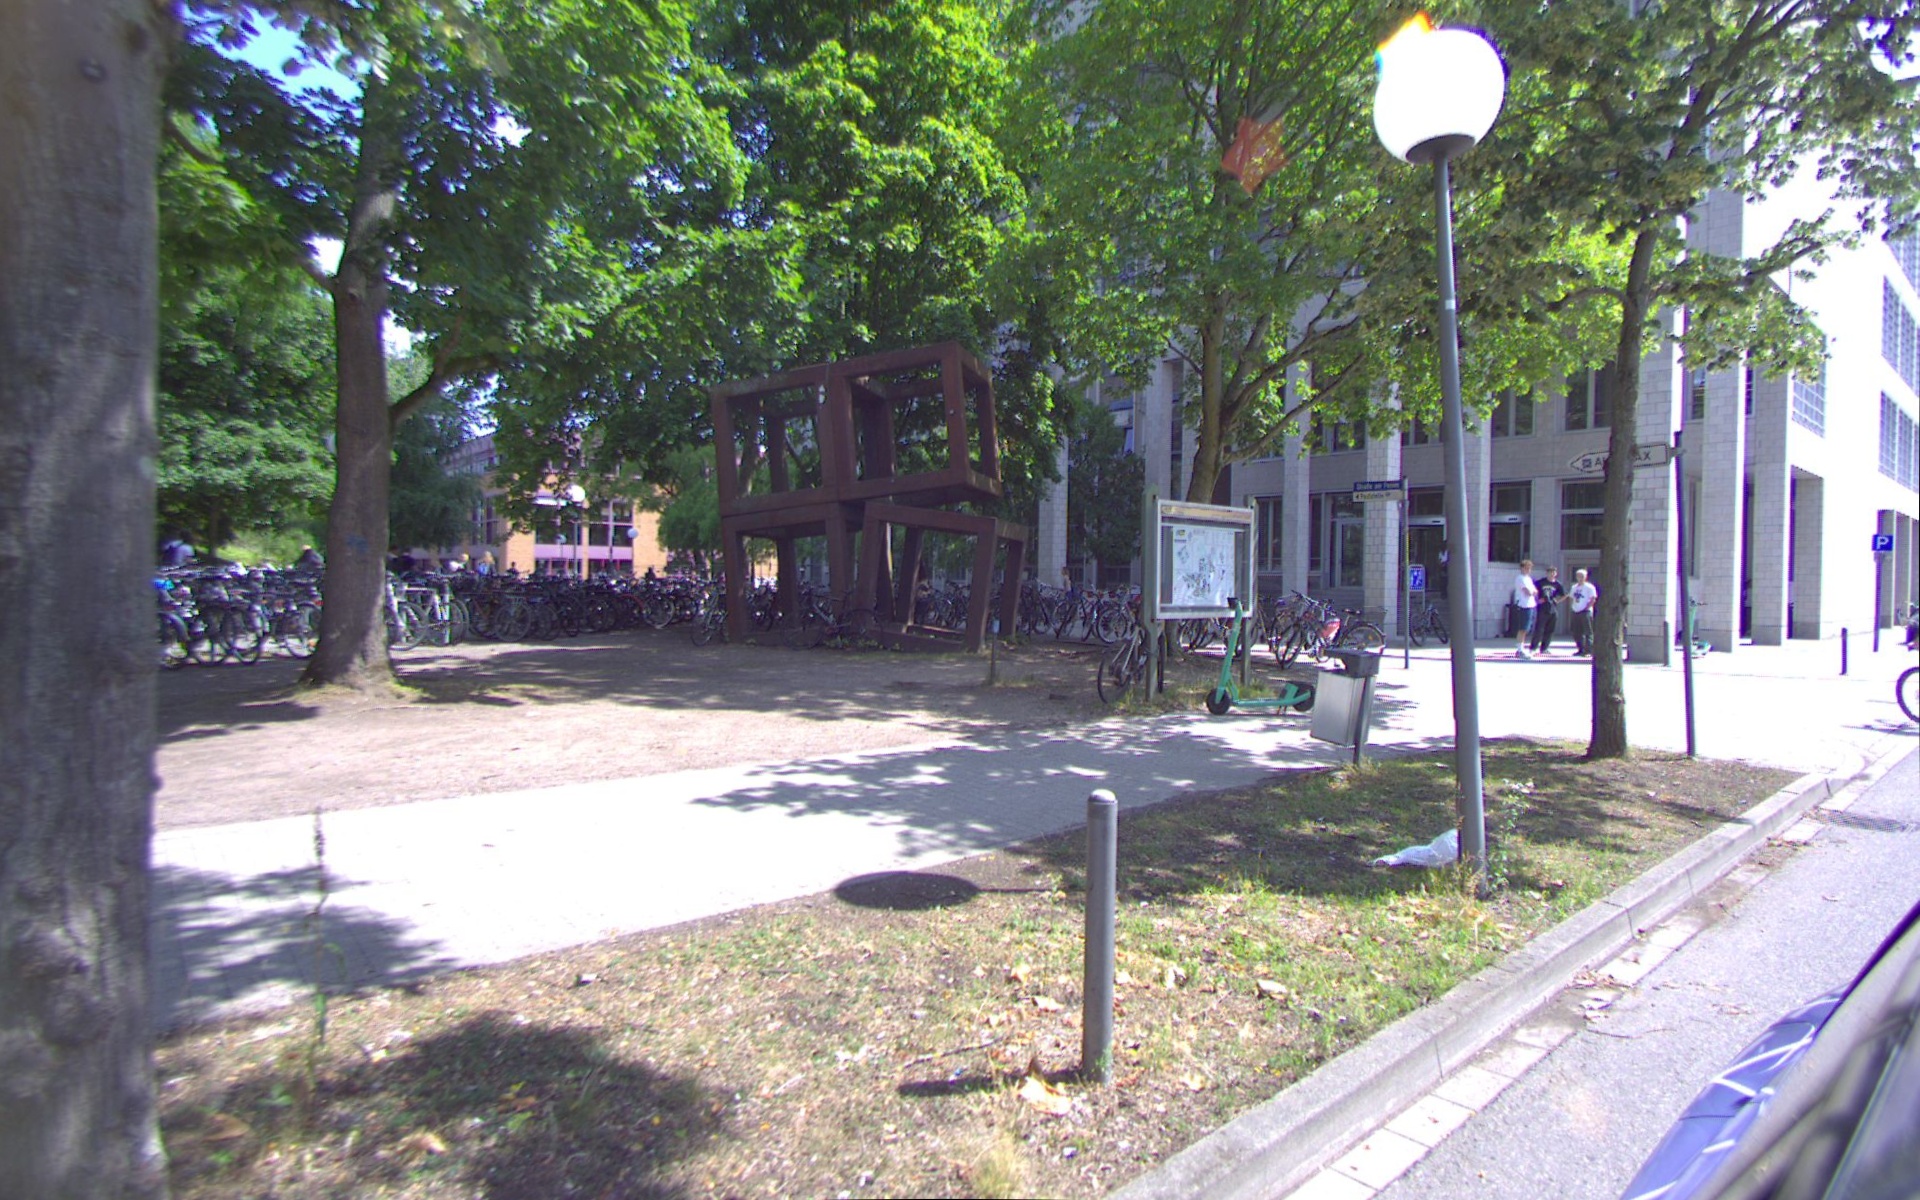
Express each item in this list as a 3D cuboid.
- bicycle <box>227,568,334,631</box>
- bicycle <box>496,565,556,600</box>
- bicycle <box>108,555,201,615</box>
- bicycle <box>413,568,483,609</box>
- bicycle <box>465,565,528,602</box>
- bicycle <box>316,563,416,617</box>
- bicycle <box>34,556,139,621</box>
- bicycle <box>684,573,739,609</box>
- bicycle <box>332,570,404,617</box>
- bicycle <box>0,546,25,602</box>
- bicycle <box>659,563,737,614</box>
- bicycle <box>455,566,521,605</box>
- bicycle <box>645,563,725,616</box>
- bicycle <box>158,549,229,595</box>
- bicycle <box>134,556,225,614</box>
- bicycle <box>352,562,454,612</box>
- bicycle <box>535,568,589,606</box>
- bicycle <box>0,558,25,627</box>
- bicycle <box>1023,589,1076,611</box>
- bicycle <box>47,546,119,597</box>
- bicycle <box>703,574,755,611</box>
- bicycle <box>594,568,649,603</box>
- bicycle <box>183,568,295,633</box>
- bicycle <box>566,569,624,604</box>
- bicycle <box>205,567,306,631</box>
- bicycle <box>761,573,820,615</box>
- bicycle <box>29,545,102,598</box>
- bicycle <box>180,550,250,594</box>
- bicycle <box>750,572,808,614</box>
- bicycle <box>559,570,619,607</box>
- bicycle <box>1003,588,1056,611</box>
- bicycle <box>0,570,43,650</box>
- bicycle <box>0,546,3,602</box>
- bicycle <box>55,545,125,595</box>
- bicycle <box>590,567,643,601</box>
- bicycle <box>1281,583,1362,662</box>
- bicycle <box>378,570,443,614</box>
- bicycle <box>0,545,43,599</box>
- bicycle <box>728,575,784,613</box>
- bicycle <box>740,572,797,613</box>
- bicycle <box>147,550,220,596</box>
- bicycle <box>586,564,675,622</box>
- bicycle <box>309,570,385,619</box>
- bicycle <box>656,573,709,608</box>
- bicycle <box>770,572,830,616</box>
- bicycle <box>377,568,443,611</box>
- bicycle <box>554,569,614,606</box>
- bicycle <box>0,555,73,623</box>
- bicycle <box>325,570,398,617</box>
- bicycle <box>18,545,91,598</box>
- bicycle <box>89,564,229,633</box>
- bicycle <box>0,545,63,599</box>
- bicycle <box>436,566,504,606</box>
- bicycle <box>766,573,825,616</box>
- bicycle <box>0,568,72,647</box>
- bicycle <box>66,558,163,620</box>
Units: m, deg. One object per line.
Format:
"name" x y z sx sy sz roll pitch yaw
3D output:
"bicycle" -11.982 -0.021 17.854 1.714 1.035 0.477 2 2 9
"bicycle" -13.576 -0.539 31.668 1.655 1.098 0.479 0 -2 -2
"bicycle" -14.375 -0.279 18.050 1.880 0.991 0.376 2 2 20
"bicycle" -13.805 -0.309 27.312 1.658 1.098 0.478 0 -2 4
"bicycle" -13.866 -0.482 30.303 1.655 1.098 0.479 0 -2 -2
"bicycle" -11.707 -0.207 19.954 1.874 0.991 0.477 2 2 12
"bicycle" -14.580 -0.205 16.885 1.880 0.991 0.475 2 2 20
"bicycle" -7.770 -0.272 31.664 0.477 1.098 1.661 -1 -2 44
"bicycle" -14.029 -0.141 24.012 1.442 1.098 0.353 0 -2 -7
"bicycle" -19.866 -0.552 20.629 1.586 1.107 0.347 2 2 13
"bicycle" -6.380 -0.289 24.648 1.816 1.185 0.412 2 1 11
"bicycle" -13.676 -0.422 29.359 1.654 1.098 0.479 0 -2 -8
"bicycle" -6.499 -0.255 23.940 1.816 1.185 0.412 2 1 11
"bicycle" -19.457 -0.707 25.696 1.581 1.107 0.348 2 2 1
"bicycle" -14.239 -0.283 18.448 1.880 0.991 0.376 2 2 20
"bicycle" -11.645 -0.275 21.185 1.868 0.991 0.479 2 2 1
"bicycle" -11.700 -0.382 29.768 1.441 1.098 0.353 0 -2 -12
"bicycle" -14.863 -0.145 15.202 1.880 0.991 0.376 2 2 20
"bicycle" 3.420 -0.008 38.702 1.981 0.769 0.634 3 1 40
"bicycle" -19.668 -0.644 22.697 1.586 1.107 0.347 2 2 13
"bicycle" -7.099 -0.217 31.175 0.475 1.098 1.666 -1 -2 35
"bicycle" -11.077 -0.469 33.152 1.653 1.098 0.479 0 -2 -9
"bicycle" -12.260 -0.006 17.223 1.714 1.035 0.477 2 2 9
"bicycle" -11.472 -0.419 31.811 1.653 1.098 0.479 0 -2 -9
"bicycle" -12.247 -0.023 17.597 1.714 1.035 0.292 2 2 9
"bicycle" -4.733 -0.153 28.289 0.477 1.144 1.661 -1 -2 44
"bicycle" -19.766 -0.631 22.363 1.586 1.107 0.347 2 2 13
"bicycle" -19.356 -0.735 26.314 1.581 1.107 0.348 2 2 1
"bicycle" -5.132 -0.179 28.717 0.477 1.144 1.661 -1 -2 44
"bicycle" -11.176 -0.330 30.520 1.653 1.098 0.479 0 -2 -9
"bicycle" 2.625 -0.035 38.305 1.981 0.769 0.634 3 1 40
"bicycle" -12.987 0.102 13.437 1.880 0.991 0.376 2 2 20
"bicycle" -19.963 -0.538 20.257 1.586 1.107 0.347 2 2 13
"bicycle" -20.039 -0.699 23.304 1.586 1.107 0.347 2 2 13
"bicycle" -11.500 -0.536 33.909 1.653 1.098 0.479 1 -2 -22
"bicycle" 5.704 0.332 15.945 1.465 1.155 0.560 -1 4 -44
"bicycle" -13.766 -0.200 25.372 1.444 1.098 0.352 0 -2 0
"bicycle" -20.141 -0.607 21.331 1.586 1.107 0.347 2 2 13
"bicycle" -6.063 -0.162 30.126 0.477 1.098 1.661 -1 -2 44
"bicycle" -5.517 -0.190 29.200 0.477 1.144 1.661 -1 -2 44
"bicycle" -19.457 -0.688 25.349 1.581 1.107 0.348 2 2 1
"bicycle" -7.060 -0.160 21.694 1.816 1.185 0.412 2 1 11
"bicycle" -13.745 -0.118 22.708 1.442 1.097 0.353 0 -1 -6
"bicycle" -9.038 -0.302 33.023 0.477 1.098 1.661 -1 -2 44
"bicycle" -4.291 -0.145 27.274 0.453 1.144 1.661 -1 -2 44
"bicycle" -14.262 -0.278 26.258 1.441 1.098 0.353 0 -2 -11
"bicycle" -11.493 -0.374 30.963 1.653 1.098 0.479 0 -2 -9
"bicycle" -14.803 -0.185 15.948 1.880 0.991 0.376 2 2 20
"bicycle" -13.982 -0.151 23.656 1.442 1.098 0.353 0 -2 -7
"bicycle" -19.800 -0.621 22.122 1.586 1.107 0.335 2 2 13
"bicycle" -12.355 -0.028 15.630 1.867 0.991 0.379 2 2 0
"bicycle" -20.035 -0.611 21.688 1.586 1.107 0.347 2 2 13
"bicycle" -13.806 -0.384 28.525 1.654 1.098 0.479 0 -2 -8
"bicycle" -4.507 -0.130 27.773 0.453 1.144 1.661 -1 -2 44
"bicycle" -12.992 0.077 13.880 1.880 0.991 0.376 2 2 20
"bicycle" -14.441 -0.204 17.276 1.880 0.991 0.376 2 2 20
